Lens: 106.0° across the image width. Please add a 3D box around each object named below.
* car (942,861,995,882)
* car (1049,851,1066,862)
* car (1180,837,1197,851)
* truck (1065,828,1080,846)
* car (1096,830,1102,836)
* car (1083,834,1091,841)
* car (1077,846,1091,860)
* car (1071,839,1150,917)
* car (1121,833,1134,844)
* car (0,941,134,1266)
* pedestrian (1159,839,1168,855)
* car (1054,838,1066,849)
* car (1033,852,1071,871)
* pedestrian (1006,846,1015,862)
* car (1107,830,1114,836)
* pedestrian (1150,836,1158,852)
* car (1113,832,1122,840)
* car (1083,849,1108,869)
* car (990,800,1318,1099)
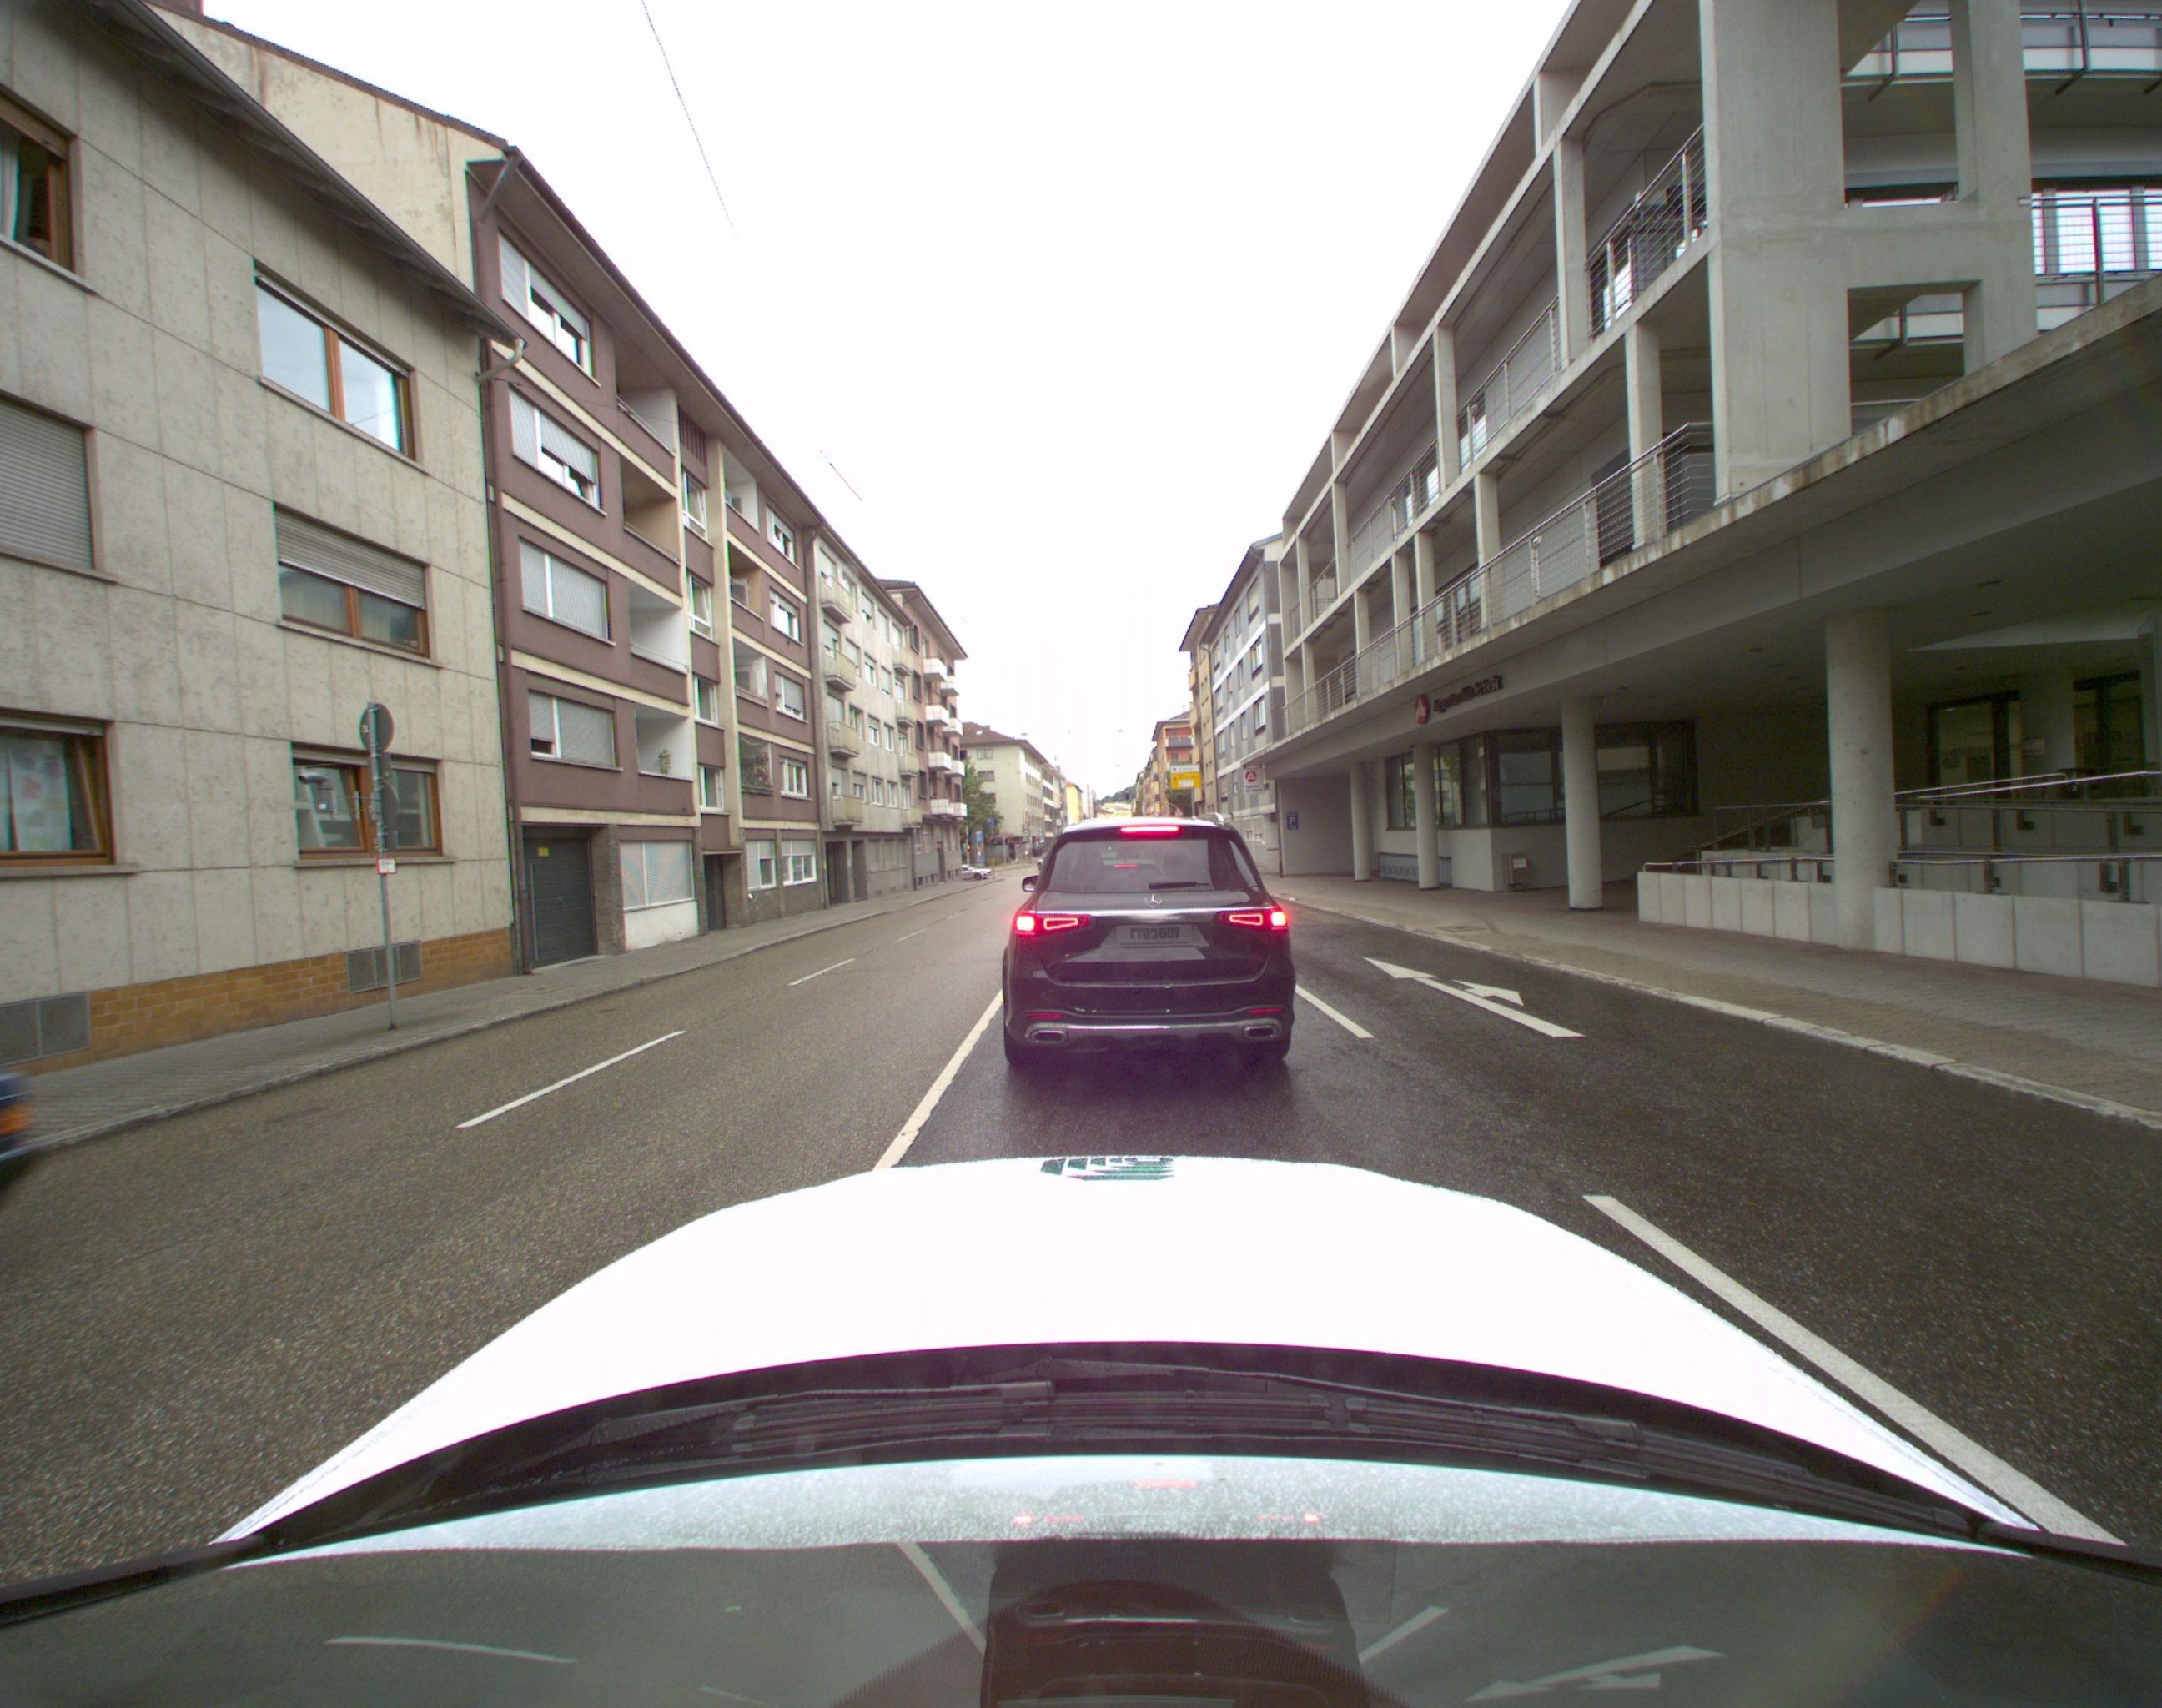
[{"bbox_3d":[-10.063,1.572,72.901,4.324,1.539,1.780,-5,-1,4],"label":"car"},{"bbox_3d":[-2.908,0.316,101.235,1.879,1.264,4.216,-4,-1,0],"label":"car"},{"bbox_3d":[12.478,-1.157,94.512,1.664,1.588,3.334,-3,0,4],"label":"car"},{"bbox_3d":[-1.595,-3.167,157.382,2.472,3.046,9.917,-4,-1,0],"label":"truck"},{"bbox_3d":[5.557,-6.358,250.480,1.613,1.539,4.216,-4,-1,0],"label":"car"},{"bbox_3d":[1.459,-3.941,193.982,1.613,1.539,4.216,-4,-1,0],"label":"car"},{"bbox_3d":[0.386,-0.134,101.442,1.613,1.539,4.216,-4,-1,0],"label":"car"},{"bbox_3d":[0.669,0.582,20.969,1.746,1.731,4.216,-3,-1,0],"label":"car"},{"bbox_3d":[7.922,-2.647,139.450,1.718,1.759,4.217,-4,0,0],"label":"car"},{"bbox_3d":[-5.570,1.182,1.857,1.593,1.370,4.362,-6,0,0],"label":"car"},{"bbox_3d":[9.864,-0.856,97.349,0.920,1.804,0.706,-3,0,0],"label":"pedestrian"},{"bbox_3d":[-3.383,-1.705,131.958,1.613,1.539,4.216,-4,-1,0],"label":"car"},{"bbox_3d":[-2.792,0.747,78.331,1.630,1.539,4.172,-4,-1,-34],"label":"car"},{"bbox_3d":[-8.873,0.034,102.327,0.920,1.902,0.706,-3,0,0],"label":"pedestrian"},{"bbox_3d":[8.998,-6.450,248.954,1.613,1.539,4.216,-4,-1,0],"label":"car"},{"bbox_3d":[9.189,-1.226,102.742,0.920,2.013,0.706,-3,0,0],"label":"pedestrian"},{"bbox_3d":[7.777,-3.902,175.414,1.613,1.387,4.216,-4,-1,0],"label":"car"},{"bbox_3d":[1.174,0.426,67.983,1.810,1.539,4.214,-4,-1,-2],"label":"car"},{"bbox_3d":[0.512,0.597,7.148,1.977,1.805,4.391,0,-1,2],"label":"car"}]
